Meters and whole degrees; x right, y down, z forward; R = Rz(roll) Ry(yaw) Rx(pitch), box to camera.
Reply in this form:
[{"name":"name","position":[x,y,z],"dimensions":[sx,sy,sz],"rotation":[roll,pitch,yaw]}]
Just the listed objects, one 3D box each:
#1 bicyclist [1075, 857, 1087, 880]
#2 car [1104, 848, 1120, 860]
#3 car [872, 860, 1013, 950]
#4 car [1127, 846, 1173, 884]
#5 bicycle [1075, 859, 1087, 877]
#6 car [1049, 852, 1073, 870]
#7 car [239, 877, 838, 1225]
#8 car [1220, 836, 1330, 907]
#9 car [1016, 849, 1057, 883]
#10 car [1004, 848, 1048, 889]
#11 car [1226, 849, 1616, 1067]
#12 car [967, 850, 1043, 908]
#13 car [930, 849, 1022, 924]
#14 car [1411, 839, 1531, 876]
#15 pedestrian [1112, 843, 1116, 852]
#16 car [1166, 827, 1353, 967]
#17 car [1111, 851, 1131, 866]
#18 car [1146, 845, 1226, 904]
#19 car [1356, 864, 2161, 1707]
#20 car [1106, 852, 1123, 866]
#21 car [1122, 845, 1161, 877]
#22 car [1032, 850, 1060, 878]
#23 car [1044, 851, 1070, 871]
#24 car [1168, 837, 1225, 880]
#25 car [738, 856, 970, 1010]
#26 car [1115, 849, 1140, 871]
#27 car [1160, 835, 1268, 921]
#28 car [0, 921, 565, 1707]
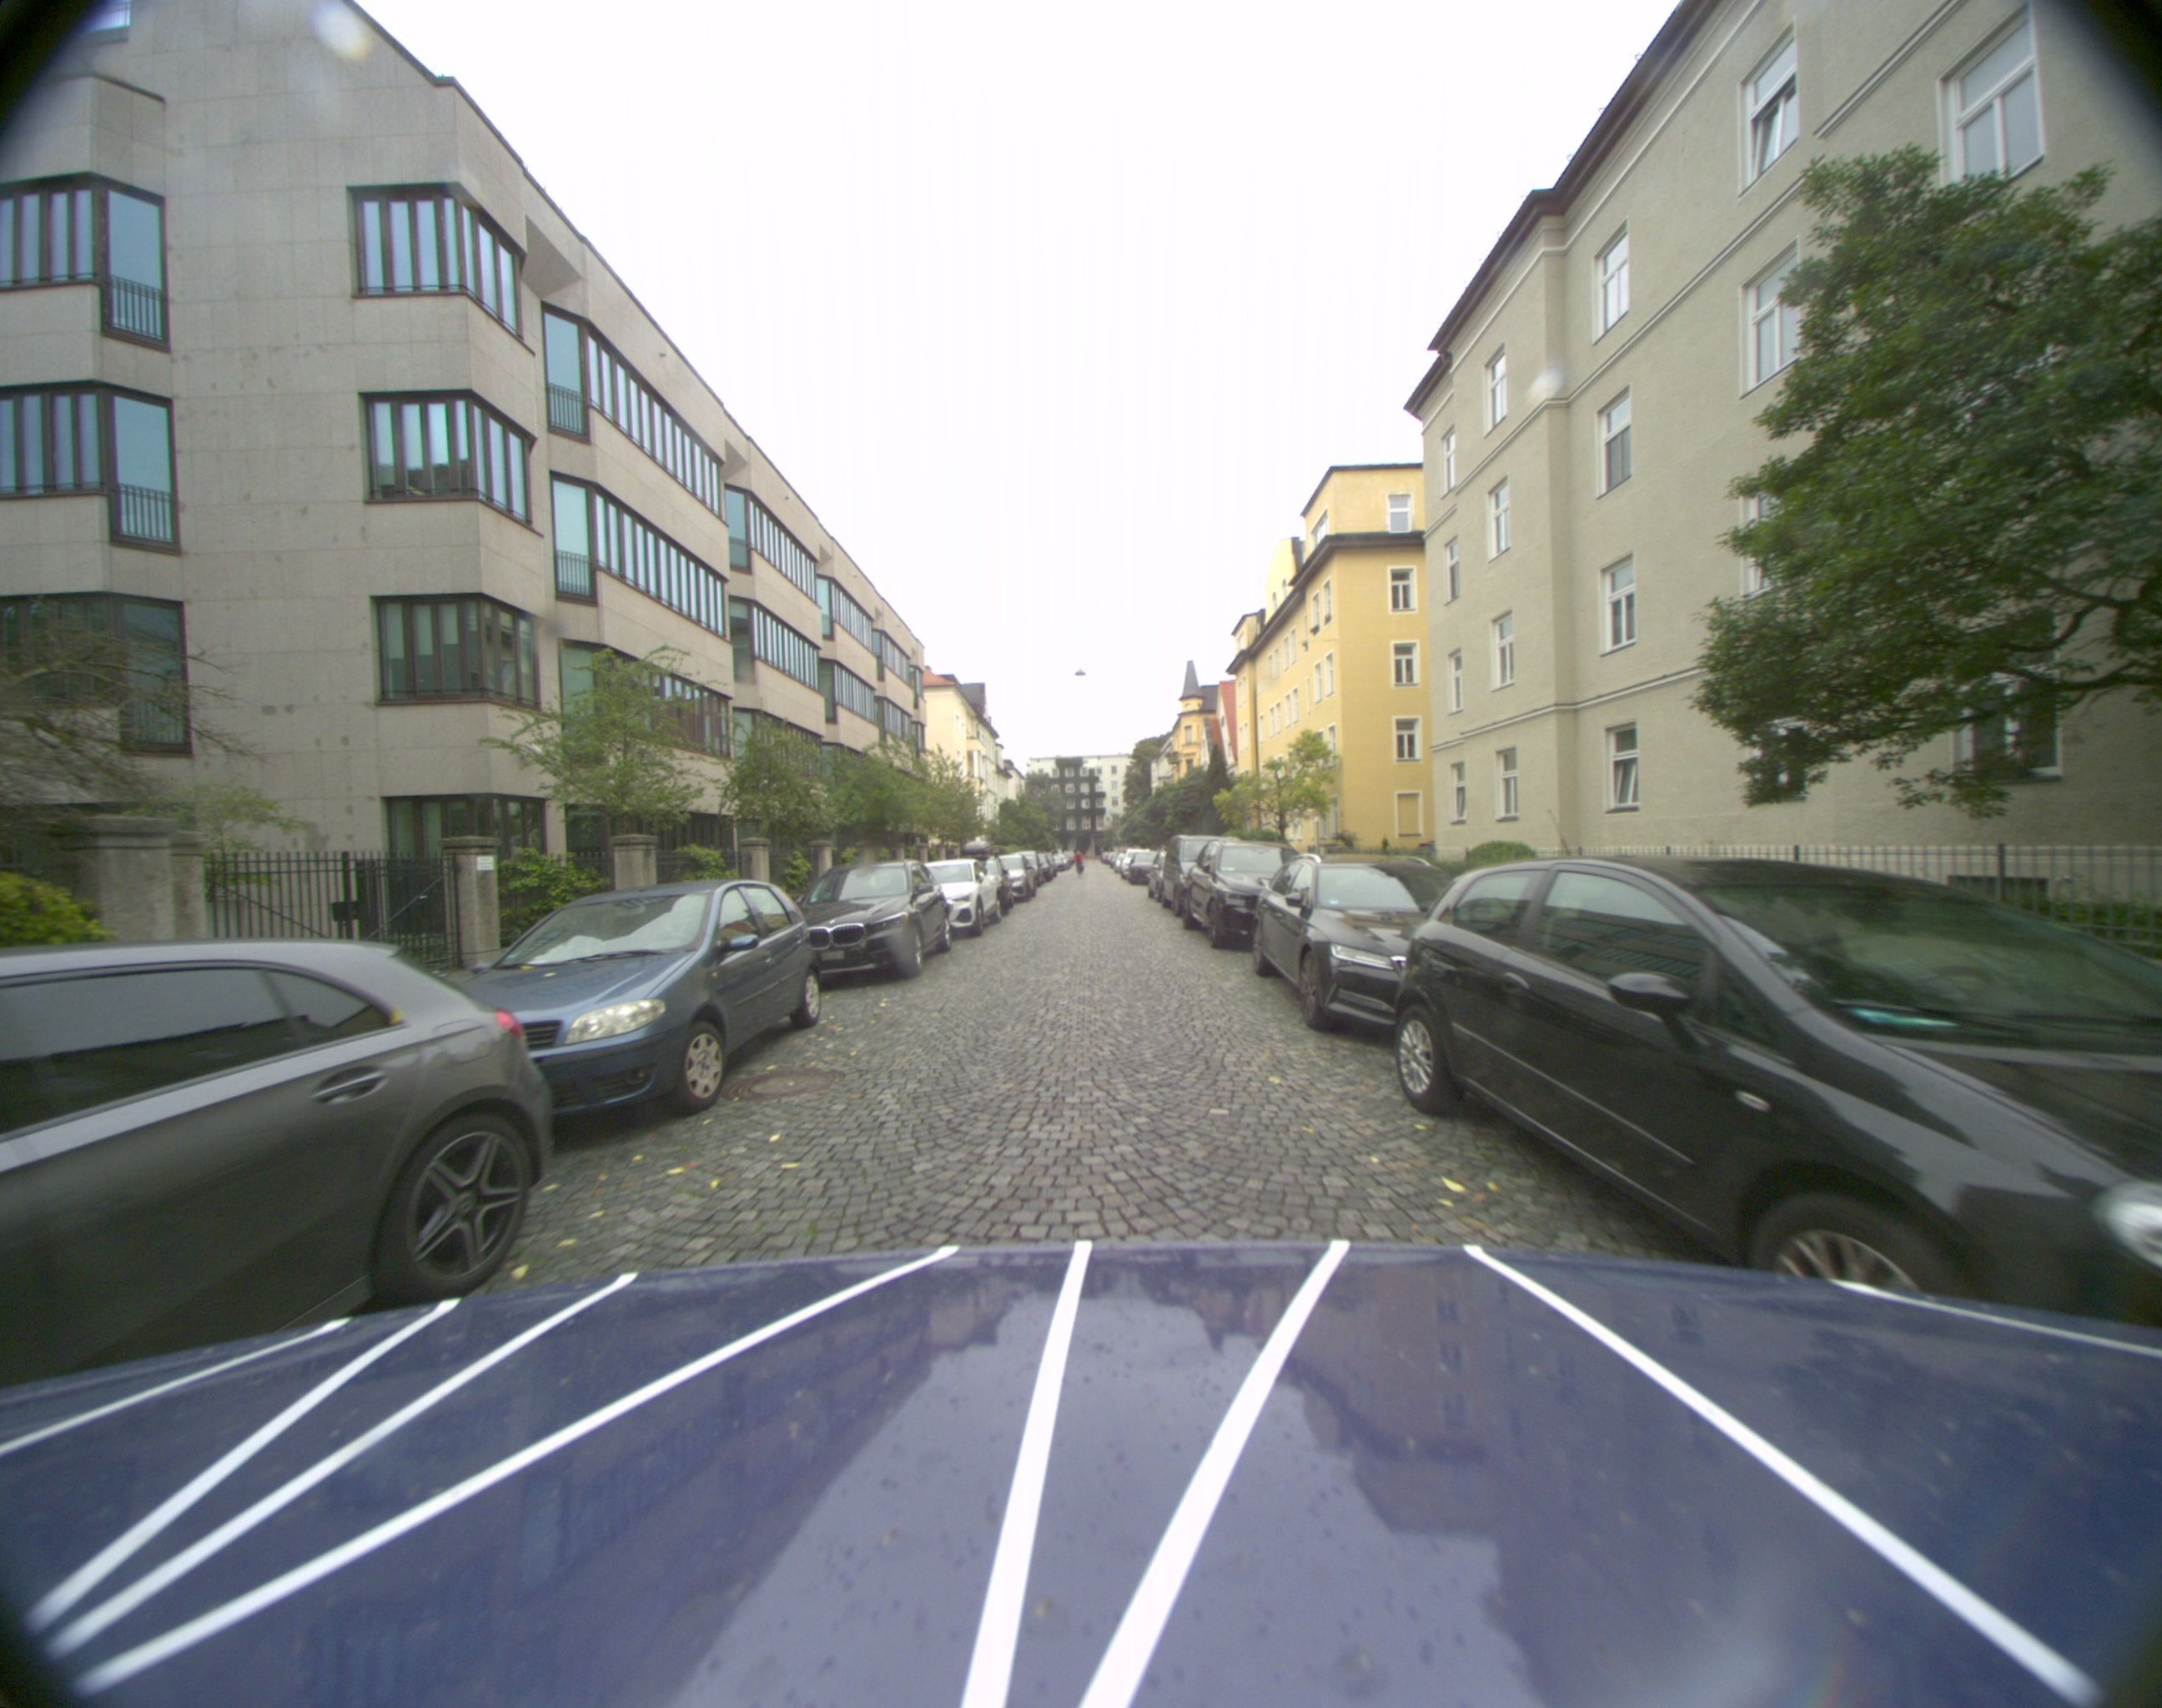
[{"name":"bicyclist","position":[0.008,0.876,46.508],"dimensions":[0.648,1.350,0.656],"rotation":[-3,1,0]},{"name":"car","position":[4.211,0.033,103.721],"dimensions":[1.846,1.577,4.191],"rotation":[-1,1,0]},{"name":"car","position":[-2.783,0.964,16.366],"dimensions":[1.877,1.481,4.617],"rotation":[-4,0,3]},{"name":"car","position":[3.357,0.478,37.947],"dimensions":[1.922,1.725,4.755],"rotation":[2,1,2]},{"name":"bicycle","position":[0.011,0.858,46.536],"dimensions":[0.636,1.021,1.955],"rotation":[-3,1,0]},{"name":"car","position":[-1.902,0.639,73.541],"dimensions":[1.998,1.543,4.986],"rotation":[-4,0,2]},{"name":"car","position":[-3.305,1.028,5.784],"dimensions":[1.699,1.432,4.060],"rotation":[-5,0,-3]},{"name":"car","position":[5.574,0.449,22.510],"dimensions":[1.950,1.725,4.657],"rotation":[-5,0,0]},{"name":"car","position":[-2.475,0.664,43.781],"dimensions":[1.865,1.692,4.813],"rotation":[-5,0,1]},{"name":"car","position":[-2.709,0.677,38.343],"dimensions":[1.793,1.786,4.509],"rotation":[-6,1,0]},{"name":"car","position":[2.909,0.733,7.963],"dimensions":[1.983,1.552,5.017],"rotation":[0,0,2]},{"name":"car","position":[-2.556,0.782,26.795],"dimensions":[1.877,1.725,4.892],"rotation":[-4,1,2]},{"name":"car","position":[-2.830,0.803,21.499],"dimensions":[1.878,1.725,4.746],"rotation":[-5,0,-1]},{"name":"car","position":[16.331,0.122,31.975],"dimensions":[4.077,1.415,1.833],"rotation":[-1,1,2]},{"name":"pedestrian","position":[6.895,-1.357,157.716],"dimensions":[0.665,1.905,0.863],"rotation":[-4,1,9]},{"name":"car","position":[2.781,0.589,13.208],"dimensions":[1.998,1.906,5.176],"rotation":[1,0,0]},{"name":"car","position":[3.855,0.409,73.608],"dimensions":[1.819,1.447,4.912],"rotation":[1,1,2]},{"name":"car","position":[3.307,0.604,24.793],"dimensions":[1.870,1.725,4.402],"rotation":[0,0,-2]},{"name":"car","position":[2.682,0.813,2.839],"dimensions":[1.667,1.435,4.170],"rotation":[-1,1,-2]},{"name":"car","position":[3.972,0.567,91.415],"dimensions":[1.744,1.577,4.191],"rotation":[-1,1,-2]},{"name":"car","position":[3.485,0.372,44.510],"dimensions":[2.011,1.798,5.174],"rotation":[0,1,2]},{"name":"car","position":[-2.364,0.629,52.333],"dimensions":[1.622,1.741,3.886],"rotation":[-5,0,0]},{"name":"car","position":[-2.121,0.566,68.322],"dimensions":[1.998,1.543,5.014],"rotation":[-4,0,1]},{"name":"car","position":[5.859,0.200,39.069],"dimensions":[1.999,1.920,5.330],"rotation":[-3,0,0]},{"name":"car","position":[-3.042,0.948,11.391],"dimensions":[1.878,1.660,4.657],"rotation":[-4,0,1]},{"name":"car","position":[3.493,0.428,57.883],"dimensions":[1.718,1.553,4.390],"rotation":[0,1,1]},{"name":"car","position":[3.204,0.510,19.298],"dimensions":[1.878,1.906,4.827],"rotation":[0,1,0]},{"name":"car","position":[-3.108,1.097,1.085],"dimensions":[1.718,1.464,4.268],"rotation":[-5,0,0]}]
